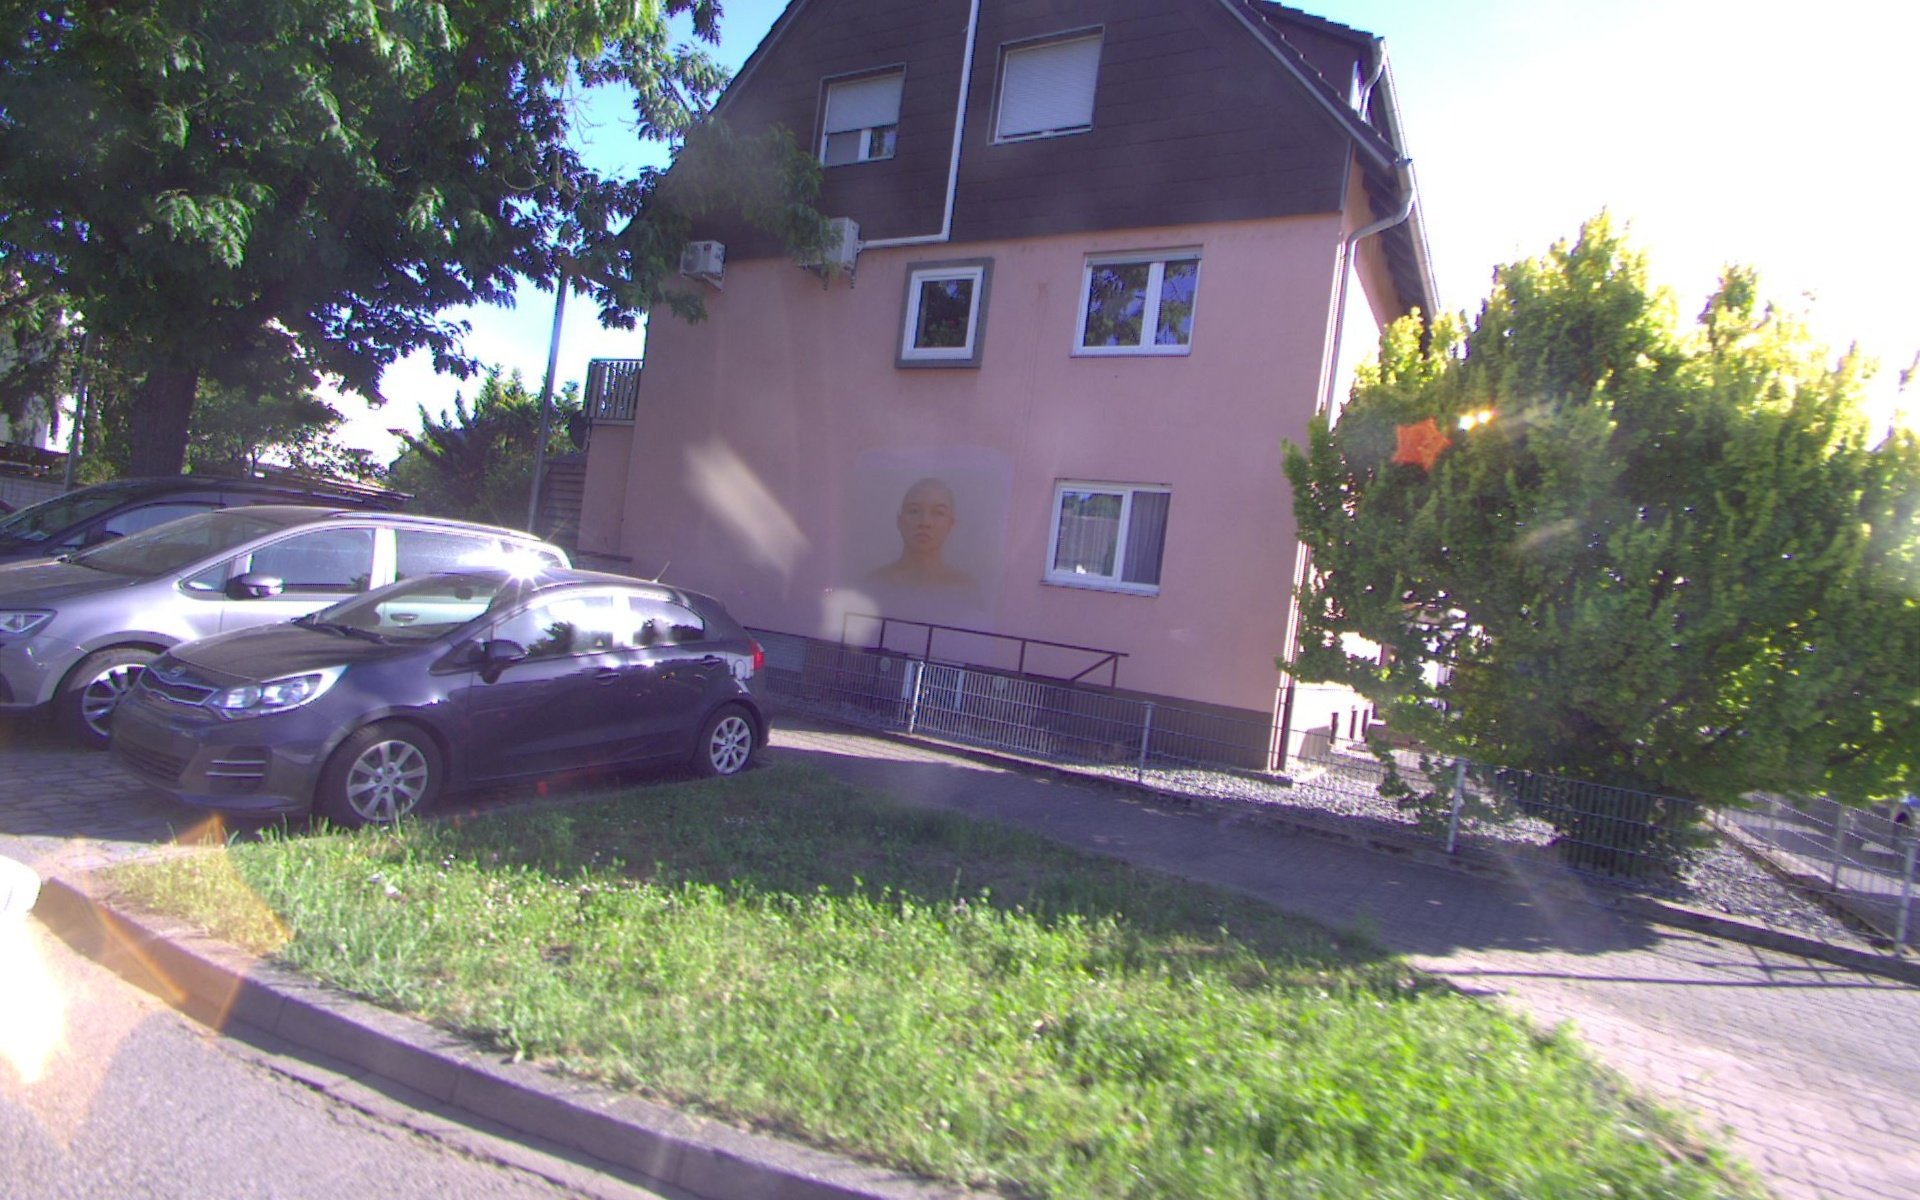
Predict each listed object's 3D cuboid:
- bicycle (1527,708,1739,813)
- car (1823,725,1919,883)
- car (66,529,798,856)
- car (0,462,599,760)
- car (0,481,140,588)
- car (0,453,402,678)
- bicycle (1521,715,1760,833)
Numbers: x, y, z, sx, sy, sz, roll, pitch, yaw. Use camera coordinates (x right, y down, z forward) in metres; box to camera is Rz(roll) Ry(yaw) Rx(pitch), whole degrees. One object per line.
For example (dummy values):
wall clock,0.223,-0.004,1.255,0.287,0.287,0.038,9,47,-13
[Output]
bicycle,10.075,2.377,15.201,2.503,1.044,0.648,8,1,32
car,12.476,2.602,12.468,1.880,1.623,3.554,8,0,30
car,-3.047,0.481,6.671,1.655,1.379,3.948,7,1,31
car,-5.329,0.050,7.883,1.847,1.701,4.508,8,1,29
car,-15.036,-1.101,14.576,1.807,1.464,4.505,7,2,31
car,-7.902,-0.305,9.501,1.758,1.804,4.217,7,1,29
bicycle,9.058,2.287,13.541,2.503,1.044,0.648,8,1,32
